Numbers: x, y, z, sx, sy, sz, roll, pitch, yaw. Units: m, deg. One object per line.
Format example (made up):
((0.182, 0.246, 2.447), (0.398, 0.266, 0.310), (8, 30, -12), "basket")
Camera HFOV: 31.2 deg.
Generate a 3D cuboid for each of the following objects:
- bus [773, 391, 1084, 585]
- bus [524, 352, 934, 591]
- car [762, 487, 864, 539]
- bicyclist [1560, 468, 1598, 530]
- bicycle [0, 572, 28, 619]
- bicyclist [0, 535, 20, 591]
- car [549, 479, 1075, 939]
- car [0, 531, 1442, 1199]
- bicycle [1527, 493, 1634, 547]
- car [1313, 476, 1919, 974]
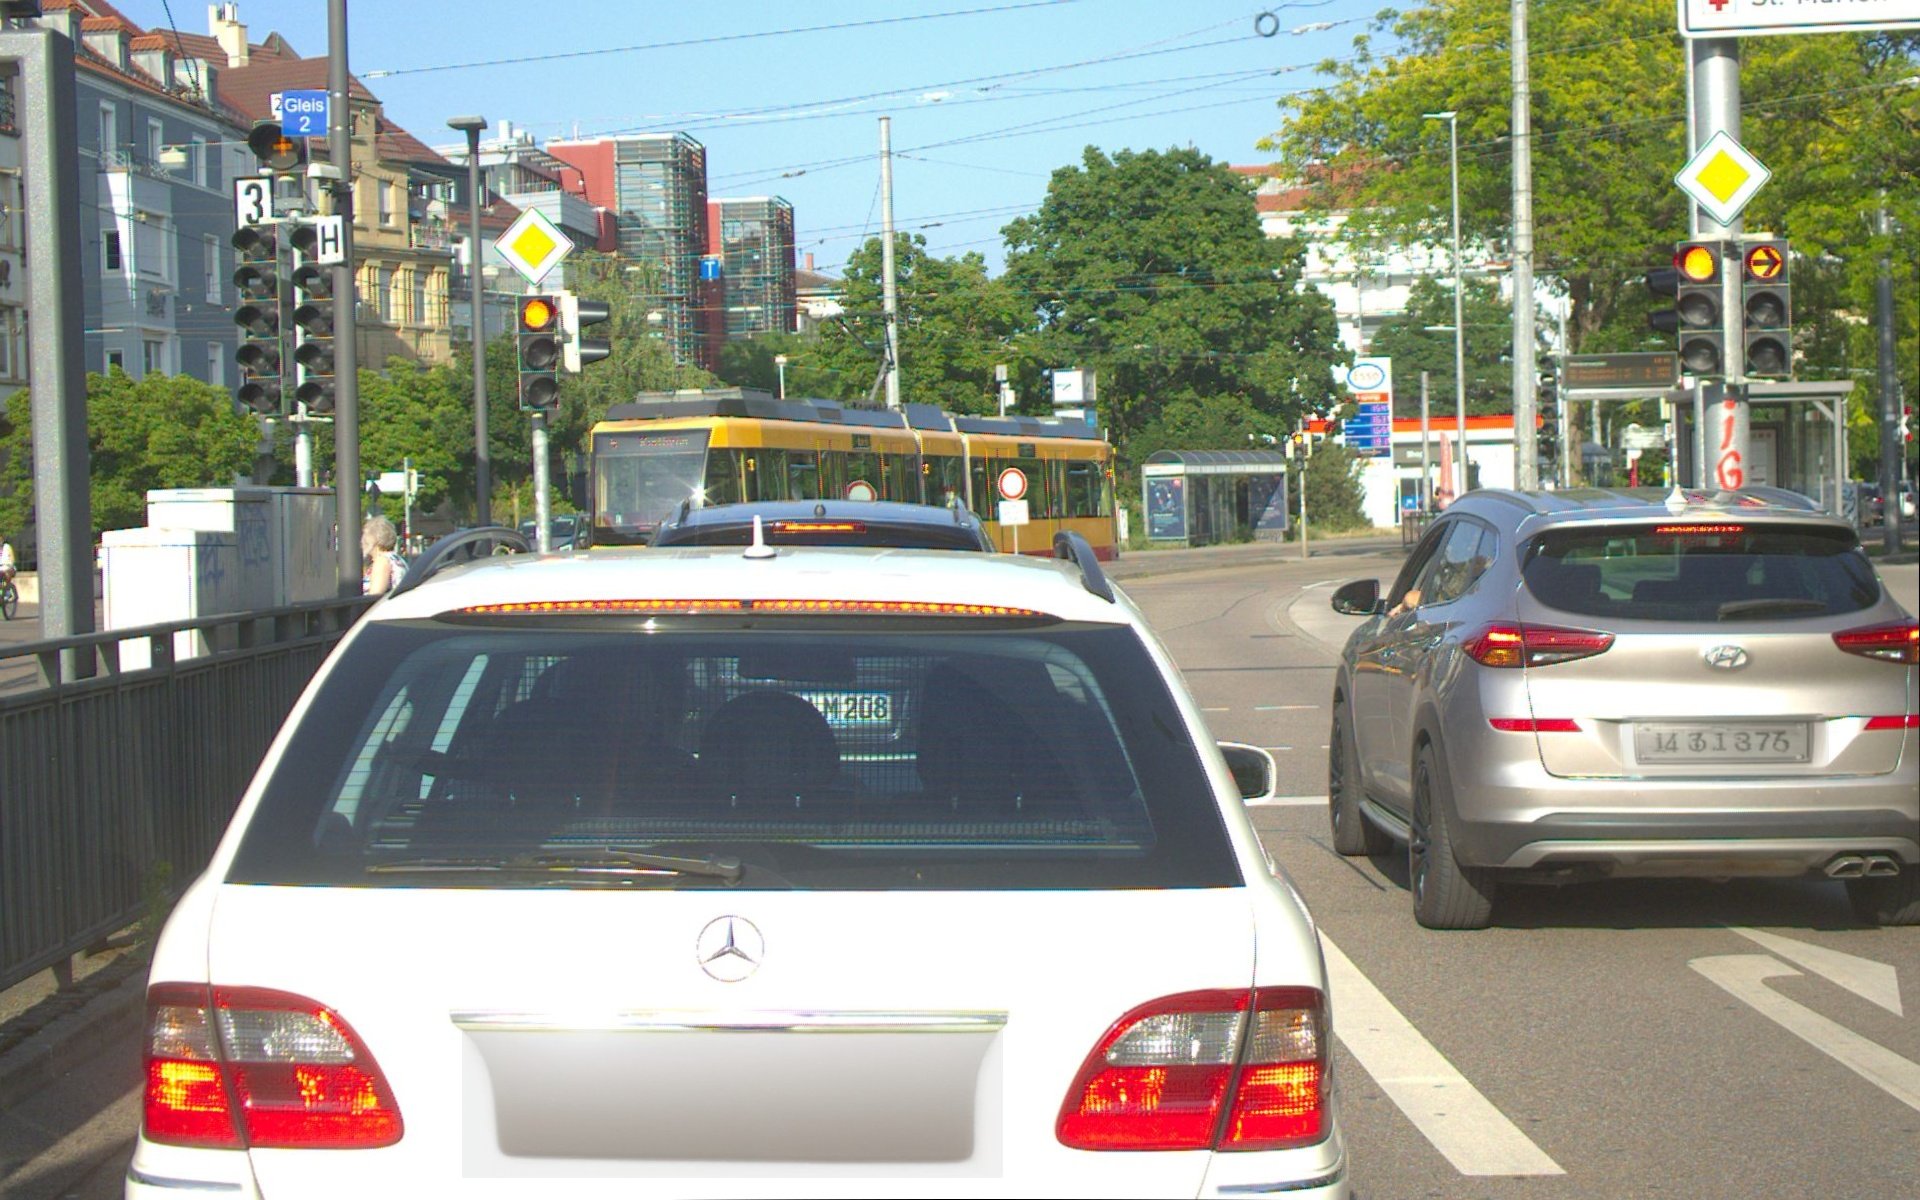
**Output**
((-0.385, -2.157, 70.216), (3.111, 3.593, 12.582), (1, 1, 15), "bus")
((-3.568, -2.022, 58.133), (3.111, 3.593, 12.366), (1, 1, 15), "bus")
((-5.803, -3.443, 136.075), (3.986, 2.007, 2.000), (0, 1, -1), "car")
((14.905, -2.434, 82.782), (0.861, 1.476, 0.789), (-1, 1, 9), "bicyclist")
((-17.808, -0.080, 63.900), (0.526, 0.831, 1.686), (-2, 1, -1), "bicycle")
((-17.820, -0.685, 63.836), (0.512, 1.041, 0.679), (-2, 1, -1), "bicyclist")
((-0.557, 0.350, 14.259), (1.885, 1.645, 3.648), (1, 1, -1), "car")
((-0.322, 0.618, 6.112), (1.796, 1.465, 3.648), (0, 1, -1), "car")
((14.932, -1.923, 82.800), (2.483, 1.209, 0.806), (-2, 1, 8), "bicycle")
((2.564, 0.378, 13.535), (1.885, 1.645, 3.648), (-2, 1, -1), "car")
